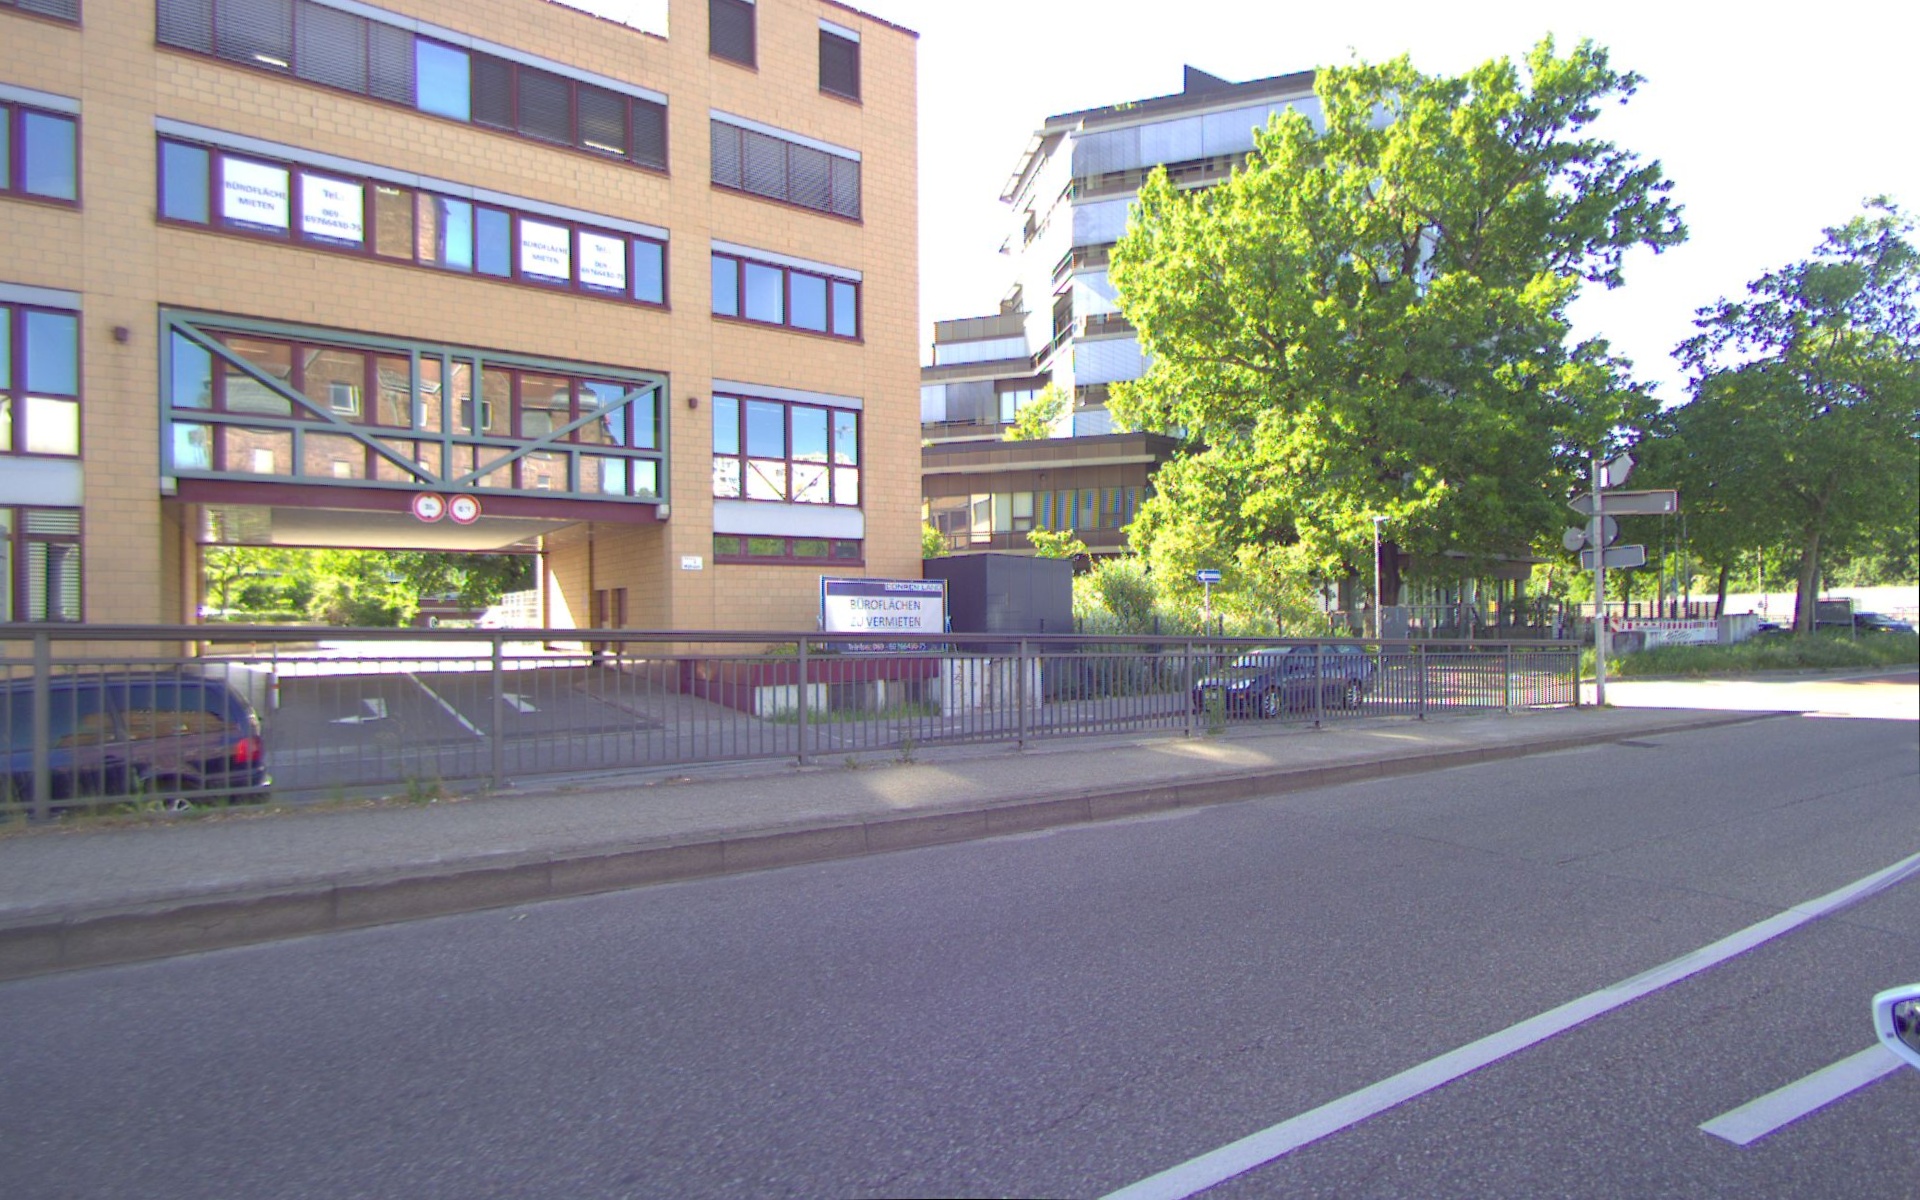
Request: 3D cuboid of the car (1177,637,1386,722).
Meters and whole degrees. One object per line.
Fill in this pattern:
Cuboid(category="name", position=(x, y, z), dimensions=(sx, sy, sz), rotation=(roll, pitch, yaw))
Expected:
Cuboid(category="car", position=(6.864, 1.598, 21.304), dimensions=(4.401, 1.523, 1.810), rotation=(0, -1, -32))

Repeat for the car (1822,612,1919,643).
Cuboid(category="car", position=(46.810, 1.384, 51.208), dimensions=(1.790, 1.458, 4.451), rotation=(-1, -1, -1))

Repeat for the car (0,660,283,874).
Cuboid(category="car", position=(-9.434, 1.596, 9.808), dimensions=(4.643, 1.781, 1.937), rotation=(0, 0, -37))
